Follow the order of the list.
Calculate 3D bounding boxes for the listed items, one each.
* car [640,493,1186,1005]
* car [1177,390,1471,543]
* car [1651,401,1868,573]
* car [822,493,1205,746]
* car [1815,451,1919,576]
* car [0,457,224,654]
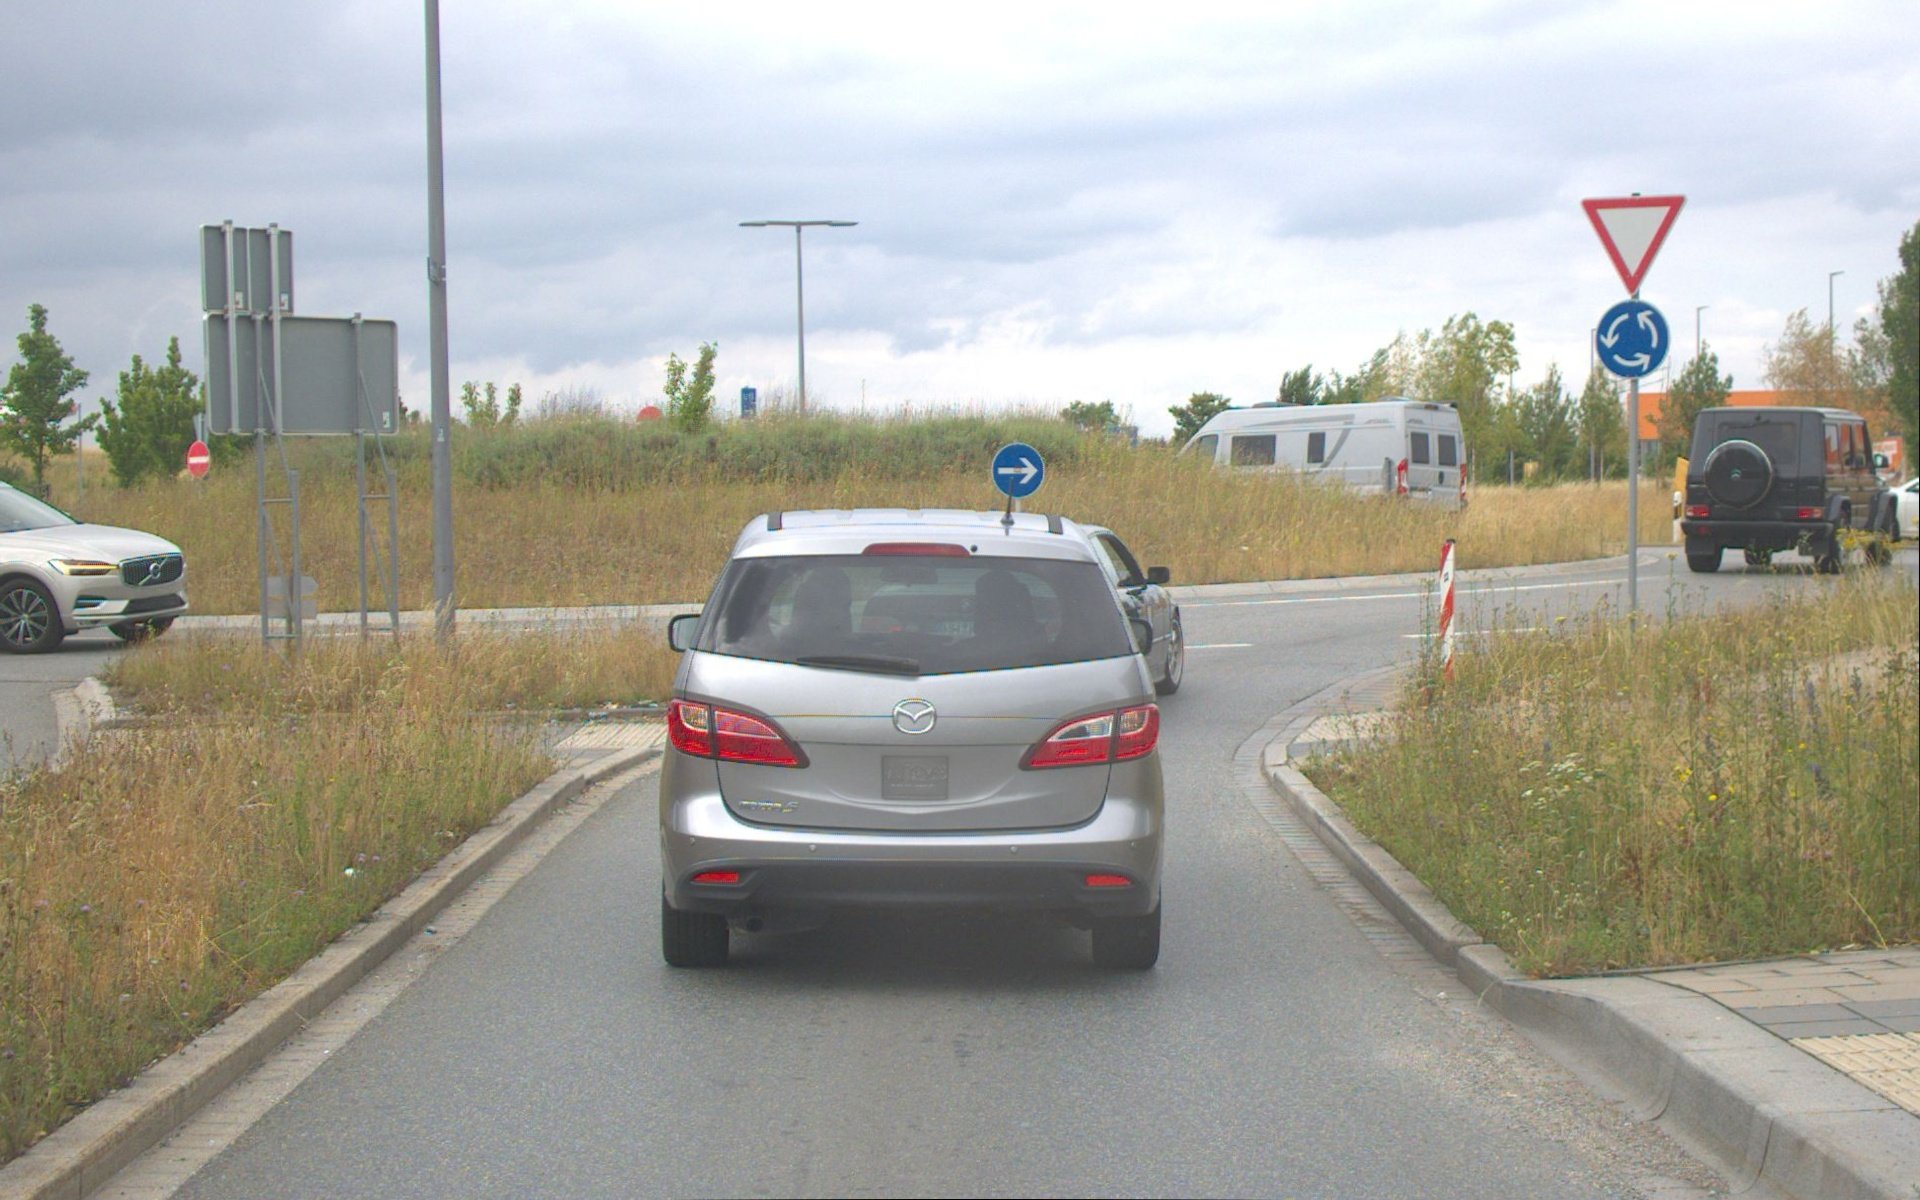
[{"bbox_3d":[-0.185,0.421,13.076,1.738,1.593,3.998,1,2,-1],"label":"car"},{"bbox_3d":[6.357,-2.344,60.337,4.771,2.535,2.080,2,5,42],"label":"car"},{"bbox_3d":[9.798,-1.423,41.854,2.079,1.880,4.771,0,4,19],"label":"car"},{"bbox_3d":[0.461,0.057,23.752,1.739,1.398,3.996,1,4,15],"label":"car"},{"bbox_3d":[16.021,-1.409,54.367,4.762,1.880,2.083,-1,4,16],"label":"car"},{"bbox_3d":[-9.683,-0.447,33.260,4.765,1.732,1.942,0,4,26],"label":"car"}]
